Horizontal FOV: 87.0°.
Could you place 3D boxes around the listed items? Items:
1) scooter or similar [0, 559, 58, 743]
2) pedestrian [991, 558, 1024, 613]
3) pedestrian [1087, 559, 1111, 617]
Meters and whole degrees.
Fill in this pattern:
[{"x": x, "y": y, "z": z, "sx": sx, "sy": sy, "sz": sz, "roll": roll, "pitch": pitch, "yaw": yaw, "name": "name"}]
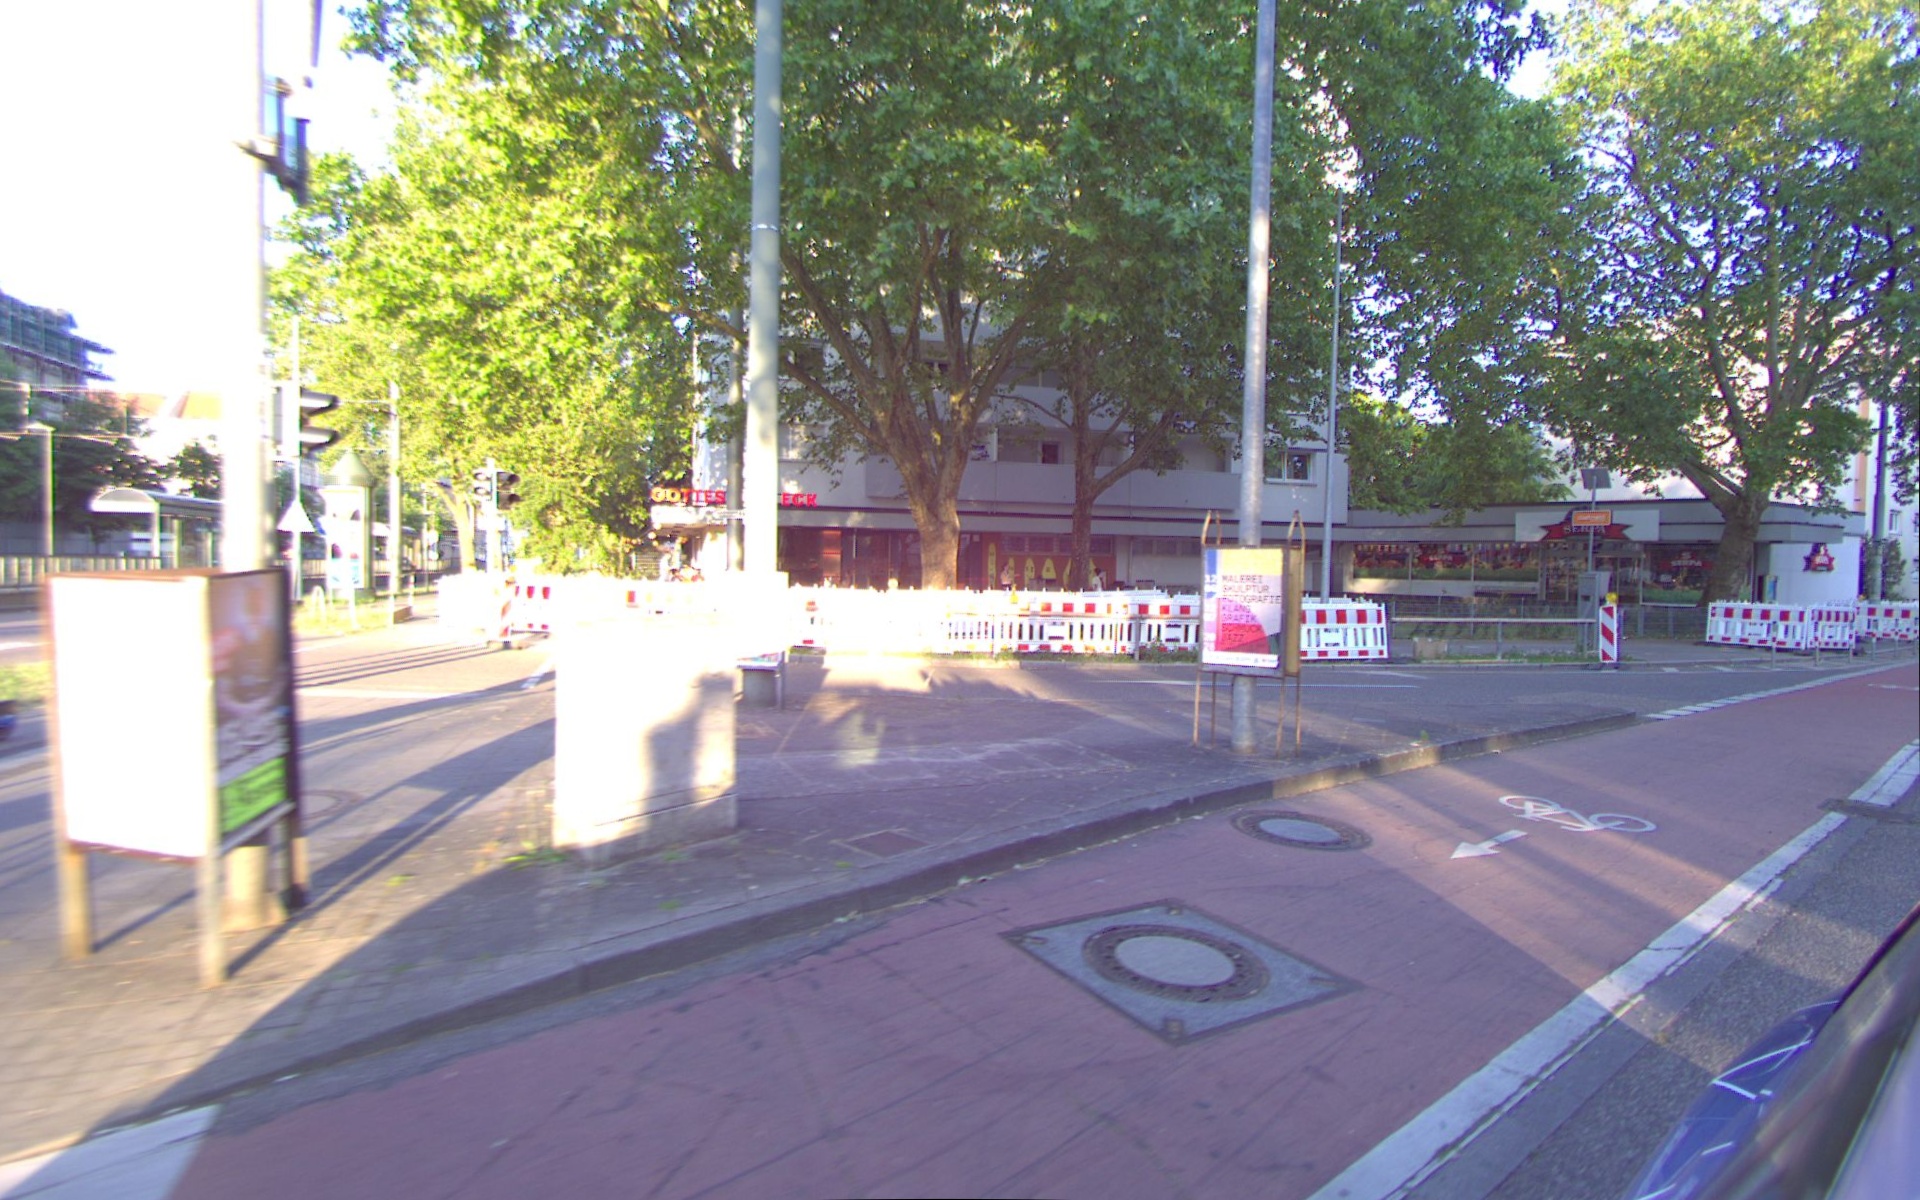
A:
[{"x": -6.864, "y": 0.359, "z": 6.789, "sx": 0.506, "sy": 1.264, "sz": 1.235, "roll": 0, "pitch": 1, "yaw": 0, "name": "scooter or similar"}, {"x": 1.413, "y": -0.426, "z": 30.012, "sx": 0.639, "sy": 1.608, "sz": 0.735, "roll": 1, "pitch": 2, "yaw": 44, "name": "pedestrian"}, {"x": 3.906, "y": -0.348, "z": 28.425, "sx": 0.630, "sy": 1.608, "sz": 0.746, "roll": 0, "pitch": 1, "yaw": 5, "name": "pedestrian"}]
